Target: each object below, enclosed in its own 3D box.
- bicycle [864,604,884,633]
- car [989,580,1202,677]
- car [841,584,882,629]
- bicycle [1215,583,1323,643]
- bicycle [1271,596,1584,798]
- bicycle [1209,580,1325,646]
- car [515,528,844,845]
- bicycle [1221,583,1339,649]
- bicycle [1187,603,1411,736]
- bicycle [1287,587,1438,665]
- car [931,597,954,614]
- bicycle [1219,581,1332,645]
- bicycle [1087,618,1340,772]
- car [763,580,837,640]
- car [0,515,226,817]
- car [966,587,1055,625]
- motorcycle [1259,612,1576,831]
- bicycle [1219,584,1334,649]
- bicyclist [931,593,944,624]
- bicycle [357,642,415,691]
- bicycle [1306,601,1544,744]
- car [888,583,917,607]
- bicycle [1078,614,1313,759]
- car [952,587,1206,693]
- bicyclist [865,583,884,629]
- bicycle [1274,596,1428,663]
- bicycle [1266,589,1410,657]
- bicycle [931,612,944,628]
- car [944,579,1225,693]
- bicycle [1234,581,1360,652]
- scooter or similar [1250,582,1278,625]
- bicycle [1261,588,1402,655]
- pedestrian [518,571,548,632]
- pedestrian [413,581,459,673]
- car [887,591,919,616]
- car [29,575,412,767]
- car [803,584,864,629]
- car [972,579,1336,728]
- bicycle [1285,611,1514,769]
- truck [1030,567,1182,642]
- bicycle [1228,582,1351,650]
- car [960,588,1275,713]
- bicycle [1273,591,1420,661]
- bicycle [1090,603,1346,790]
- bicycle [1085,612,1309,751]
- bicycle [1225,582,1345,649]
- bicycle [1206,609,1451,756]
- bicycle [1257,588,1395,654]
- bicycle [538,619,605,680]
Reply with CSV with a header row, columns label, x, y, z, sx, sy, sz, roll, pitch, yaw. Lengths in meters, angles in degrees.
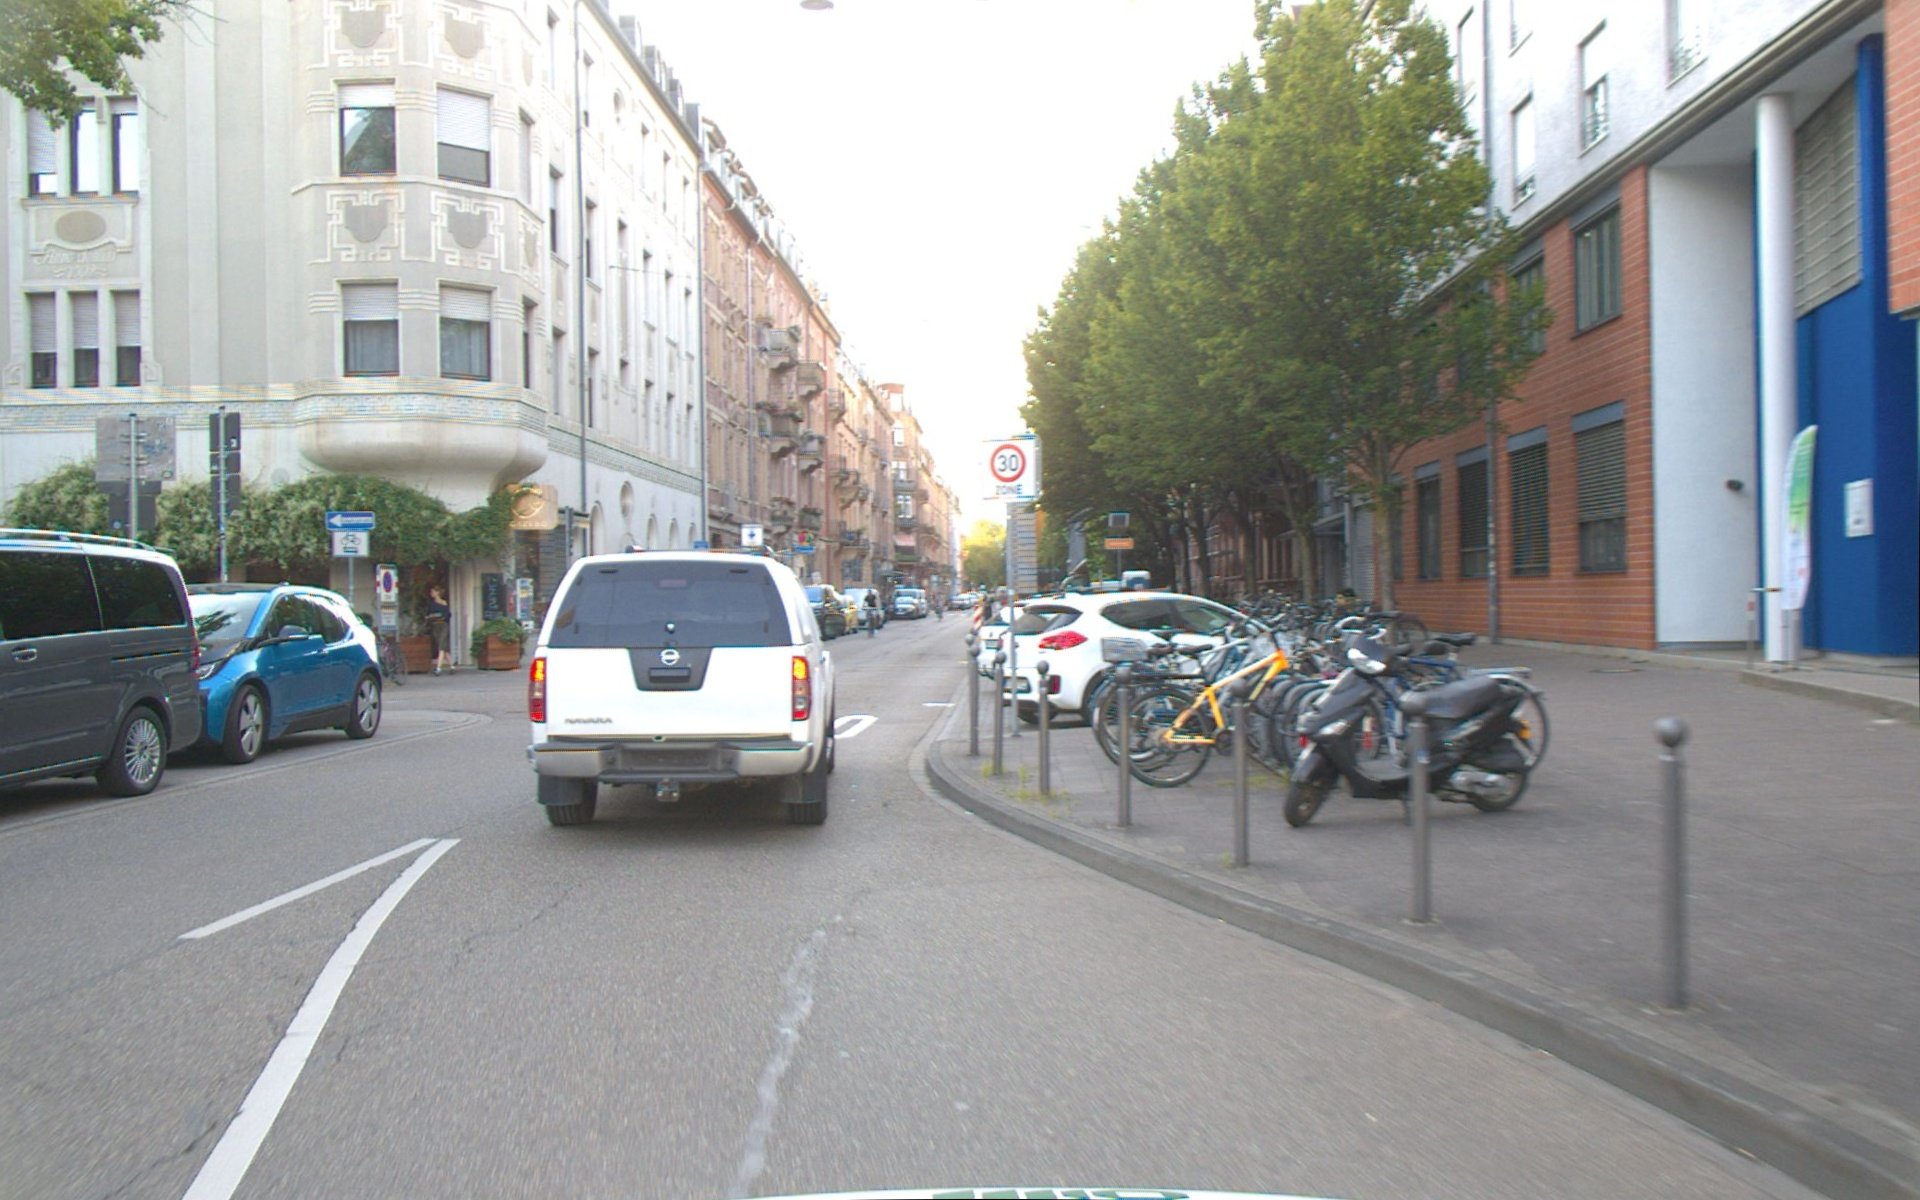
label,x,y,z,sx,sy,sz,roll,pitch,yaw
bicycle,-3.233,0.685,62.263,0.602,1.058,1.904,-1,0,2
car,2.471,0.488,30.048,3.558,1.608,1.698,-1,0,-32
car,-4.487,0.277,75.849,1.527,1.955,3.857,1,0,1
bicycle,7.451,0.306,39.948,2.481,1.403,0.599,-1,0,4
bicycle,3.064,0.622,10.953,1.821,1.166,0.659,-4,0,1
bicycle,7.157,0.305,38.634,2.482,1.266,0.599,-6,-1,4
car,-1.833,0.513,12.016,1.895,1.826,4.617,-1,0,-5
bicycle,7.037,0.349,36.489,2.481,1.403,0.599,-1,0,4
bicycle,3.053,0.619,14.974,1.872,1.084,0.524,-3,0,0
bicycle,6.704,0.432,27.613,2.297,1.118,0.680,-4,0,4
car,-1.657,0.540,157.139,1.808,1.579,4.357,-1,0,4
bicycle,7.212,0.304,37.863,2.481,1.403,0.599,-1,0,4
bicycle,1.922,0.715,12.656,1.819,1.056,0.472,-3,0,0
car,-5.392,0.316,56.393,1.865,1.959,4.948,0,0,2
car,-7.020,0.425,10.681,1.952,1.899,5.292,-1,0,3
car,2.452,0.293,79.855,4.106,1.811,1.821,0,0,7
motorcycle,2.652,0.682,9.659,1.613,1.121,0.646,-3,0,-7
bicycle,7.101,0.358,37.170,2.481,1.403,0.599,-1,0,4
bicyclist,-1.411,0.517,102.669,0.784,1.882,0.943,0,0,-1
bicycle,-10.074,1.155,29.066,0.414,0.707,1.779,-1,2,-1
bicycle,3.895,0.599,13.922,1.819,1.084,0.524,-3,0,0
car,-3.810,-0.352,110.539,1.674,1.557,4.001,0,0,2
bicycle,1.923,0.702,13.609,1.819,1.084,0.445,-3,0,0
car,1.973,0.604,27.164,3.944,1.564,1.620,-1,1,-29
bicyclist,-3.235,0.234,62.304,0.590,1.714,1.143,-1,0,2
bicycle,6.788,0.506,28.819,2.481,0.976,0.680,-4,0,4
bicycle,6.868,0.414,30.101,2.481,1.187,0.562,-1,0,4
bicycle,-1.400,1.260,102.673,0.784,0.963,2.004,0,0,0
car,1.902,0.523,24.991,3.944,1.549,1.693,-1,-1,-29
bicycle,6.978,0.337,34.328,2.481,1.403,0.599,-1,0,4
scooter or similar,9.340,0.099,50.797,0.362,1.239,1.702,-4,-1,25
bicycle,6.881,0.402,30.712,2.481,1.187,0.562,-1,0,4
pedestrian,-9.762,0.037,37.782,0.527,1.374,0.518,0,0,2
pedestrian,-9.887,0.503,31.207,0.558,1.704,0.612,-1,0,41
car,-3.597,0.232,104.780,1.754,1.557,4.001,0,0,2
car,-6.788,0.579,15.688,1.606,1.583,4.006,-1,0,4
car,-4.896,0.248,64.267,1.952,1.681,4.001,-1,0,1
car,2.289,0.567,19.373,3.941,1.533,1.754,-1,0,-28
bicycle,3.199,0.648,12.106,1.508,1.056,0.472,-3,0,0
truck,6.039,0.225,68.779,6.188,3.029,2.265,0,-3,3
bicycle,6.974,0.336,35.042,2.481,1.403,0.599,-1,0,4
car,2.160,0.646,22.458,3.948,1.499,1.855,-1,-1,-32
bicycle,6.865,0.454,29.470,2.481,1.187,0.562,-1,0,4
bicycle,1.788,0.661,11.591,1.672,1.196,0.472,-3,0,0
bicycle,2.031,0.690,14.276,1.819,1.084,0.445,-3,0,0
bicycle,6.998,0.330,35.698,2.481,1.403,0.599,-1,0,4
bicycle,2.914,0.651,13.158,1.819,1.056,0.402,-3,0,0
bicycle,6.914,0.393,31.323,2.481,1.187,0.562,-1,0,4
bicycle,-7.152,0.894,30.505,0.414,1.030,1.720,0,1,15
